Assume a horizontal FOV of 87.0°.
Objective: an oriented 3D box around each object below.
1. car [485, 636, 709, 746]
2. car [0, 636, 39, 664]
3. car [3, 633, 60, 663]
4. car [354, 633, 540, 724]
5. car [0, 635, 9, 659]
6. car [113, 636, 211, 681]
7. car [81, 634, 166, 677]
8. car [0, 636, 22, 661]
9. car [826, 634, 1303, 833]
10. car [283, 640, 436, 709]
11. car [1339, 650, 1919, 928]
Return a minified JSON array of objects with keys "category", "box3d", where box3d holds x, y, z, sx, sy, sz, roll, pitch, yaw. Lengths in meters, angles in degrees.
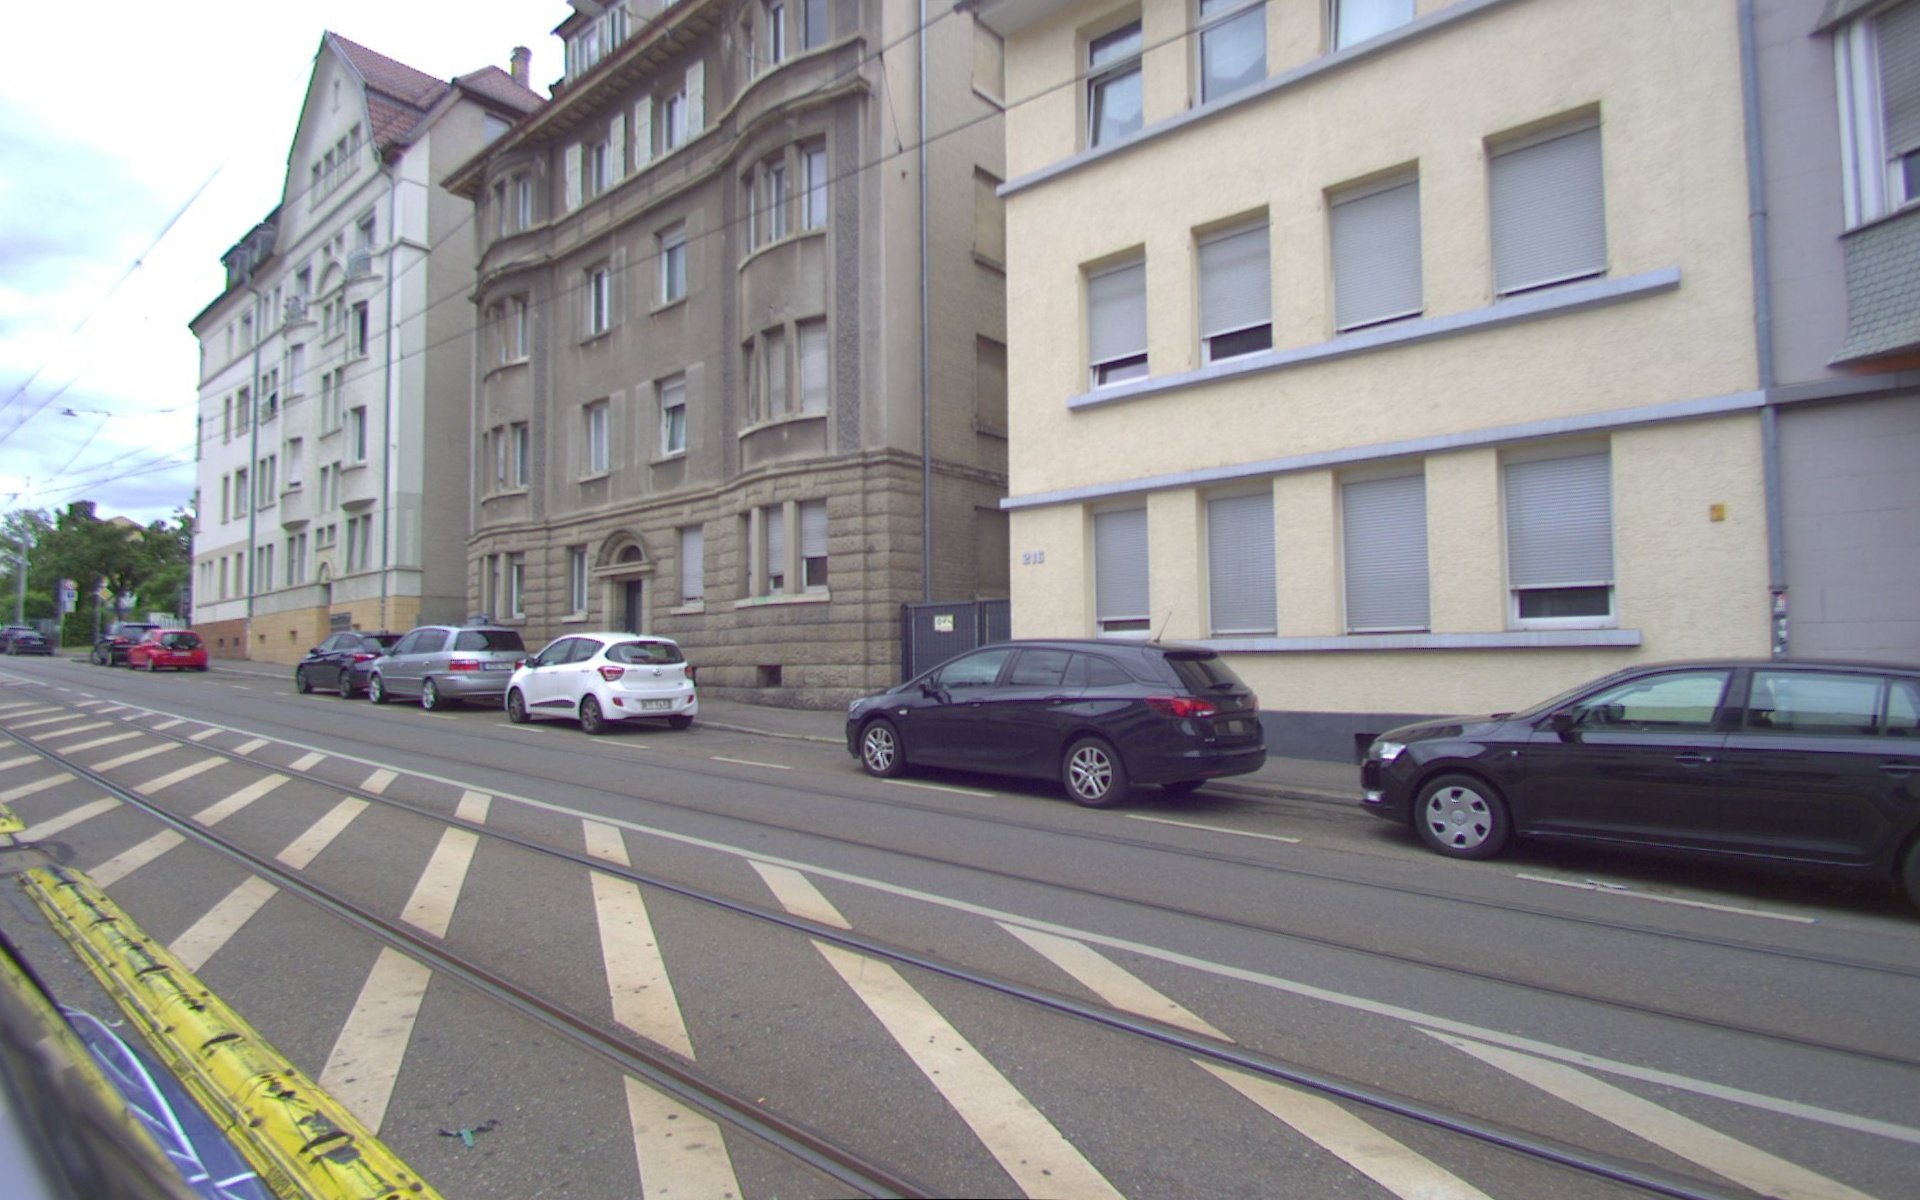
[{"category":"car","box3d":[-5.868,1.365,16.167,3.799,1.522,1.720,-1,-3,41]},{"category":"car","box3d":[-55.798,2.923,59.645,3.950,1.537,1.720,-1,-5,41]},{"category":"car","box3d":[-51.092,2.648,55.675,3.949,1.537,1.721,-1,-5,40]},{"category":"car","box3d":[-10.057,1.441,19.720,4.140,1.579,1.721,-1,-3,40]},{"category":"car","box3d":[-64.798,3.060,67.341,3.949,1.537,1.721,-1,-5,40]},{"category":"car","box3d":[-28.150,2.052,35.667,3.945,1.470,1.722,-1,-4,37]},{"category":"car","box3d":[-31.885,2.097,38.547,3.949,1.537,1.721,-1,-5,40]},{"category":"car","box3d":[-60.684,3.039,63.807,3.949,1.537,1.721,-1,-5,40]},{"category":"car","box3d":[0.852,1.147,10.065,4.524,1.522,1.766,-1,-5,41]},{"category":"car","box3d":[-13.651,1.616,22.928,4.042,1.392,1.721,-1,-3,40]},{"category":"car","box3d":[4.958,1.105,6.719,4.239,1.421,1.766,-1,-5,41]}]
